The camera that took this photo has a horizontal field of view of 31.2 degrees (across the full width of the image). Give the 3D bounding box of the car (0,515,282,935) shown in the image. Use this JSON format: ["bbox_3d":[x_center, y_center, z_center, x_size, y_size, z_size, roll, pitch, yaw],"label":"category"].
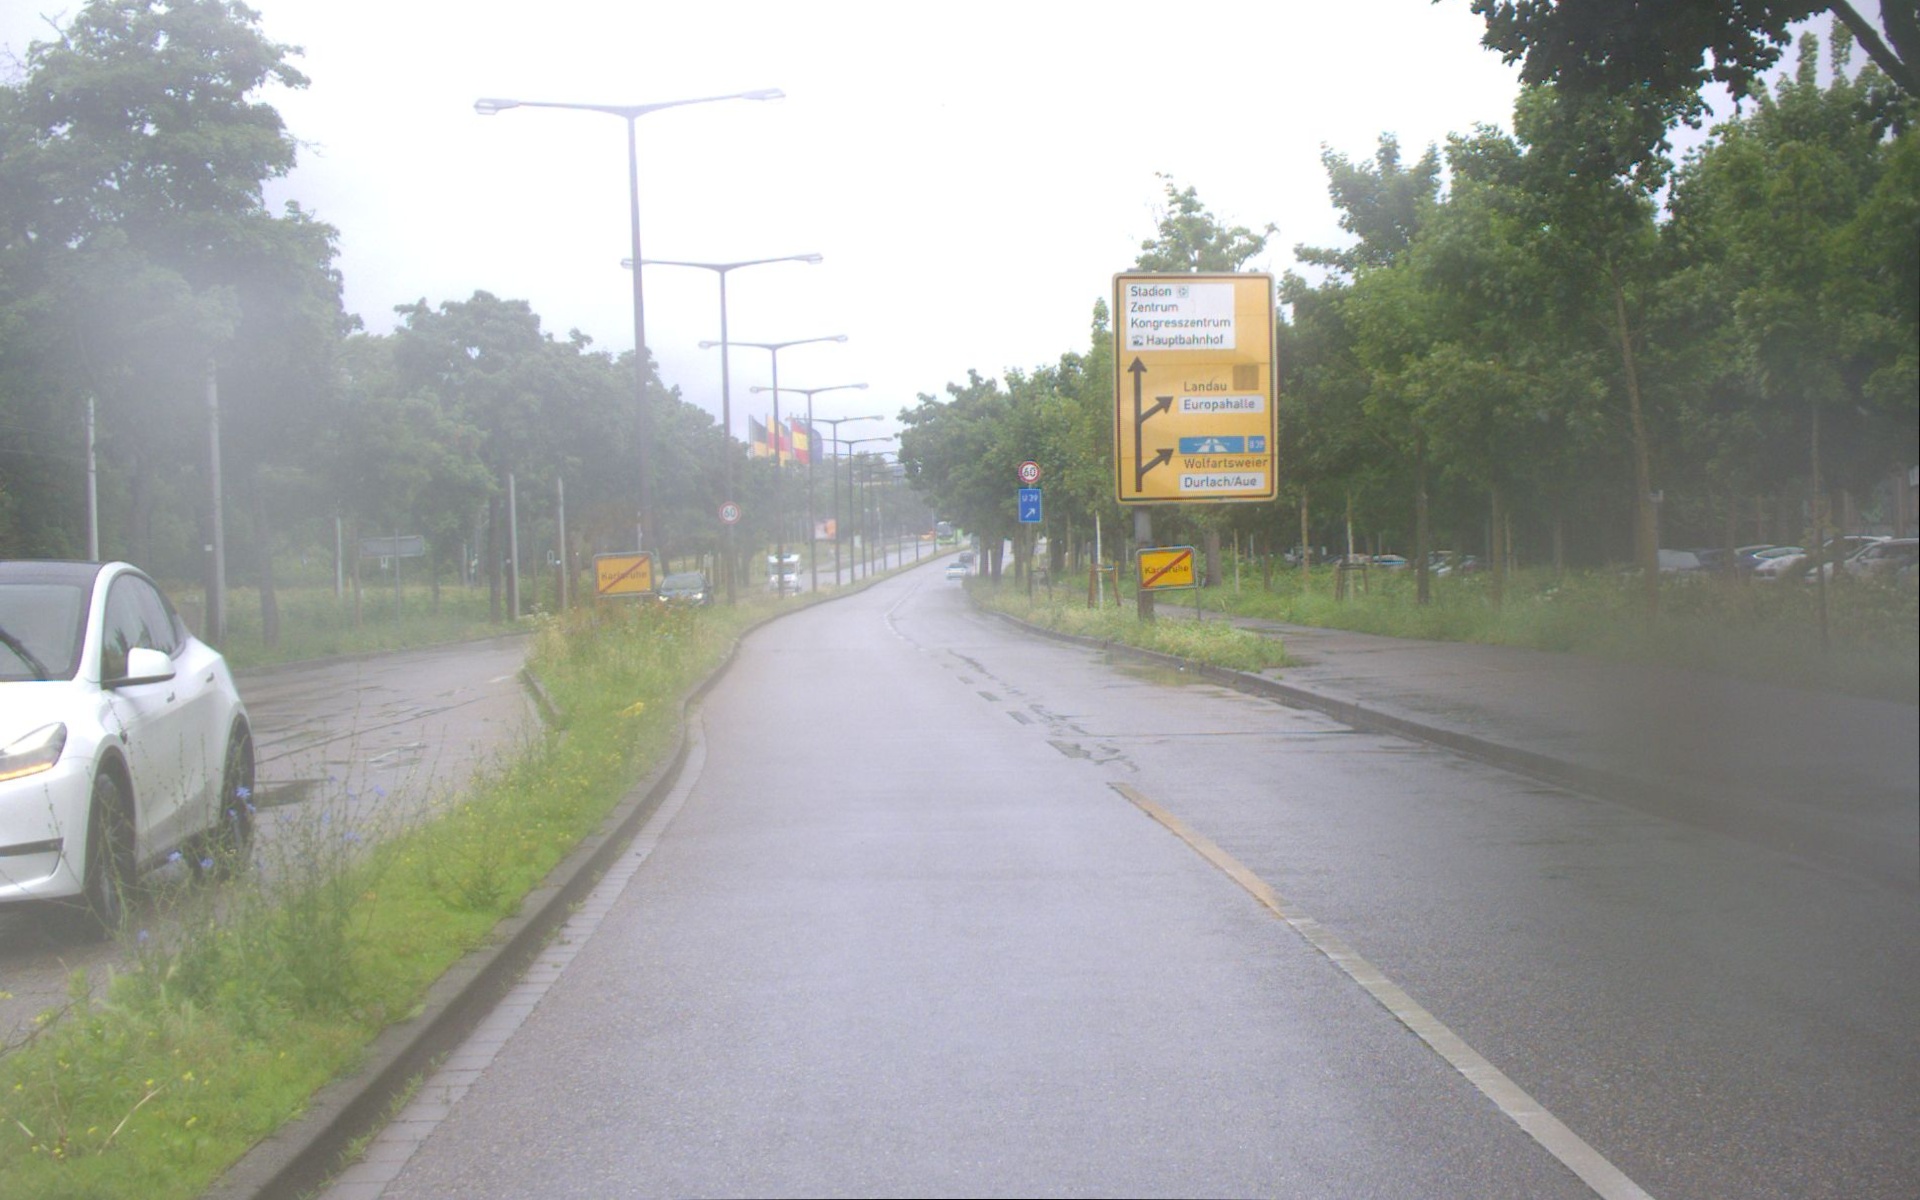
[{"bbox_3d":[-4.516,0.475,15.570,1.961,1.611,4.697,-2,1,-1],"label":"car"}]

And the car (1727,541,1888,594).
[{"bbox_3d":[26.978,-1.037,109.519,4.569,1.639,2.000,0,0,-6],"label":"car"}]

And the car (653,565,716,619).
[{"bbox_3d":[-9.127,-0.280,114.171,1.743,1.644,4.136,-4,1,-1],"label":"car"}]

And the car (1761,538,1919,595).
[{"bbox_3d":[27.416,-1.031,106.721,4.569,1.699,2.000,0,0,-4],"label":"car"}]

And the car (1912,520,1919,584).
[{"bbox_3d":[28.014,-1.280,92.241,4.333,1.719,1.945,0,0,-4],"label":"car"}]

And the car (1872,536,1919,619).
[{"bbox_3d":[19.660,-0.479,67.859,1.993,1.620,4.642,-2,0,0],"label":"car"}]

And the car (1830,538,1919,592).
[{"bbox_3d":[28.128,-1.020,101.246,4.570,1.552,1.945,0,0,3],"label":"car"}]
